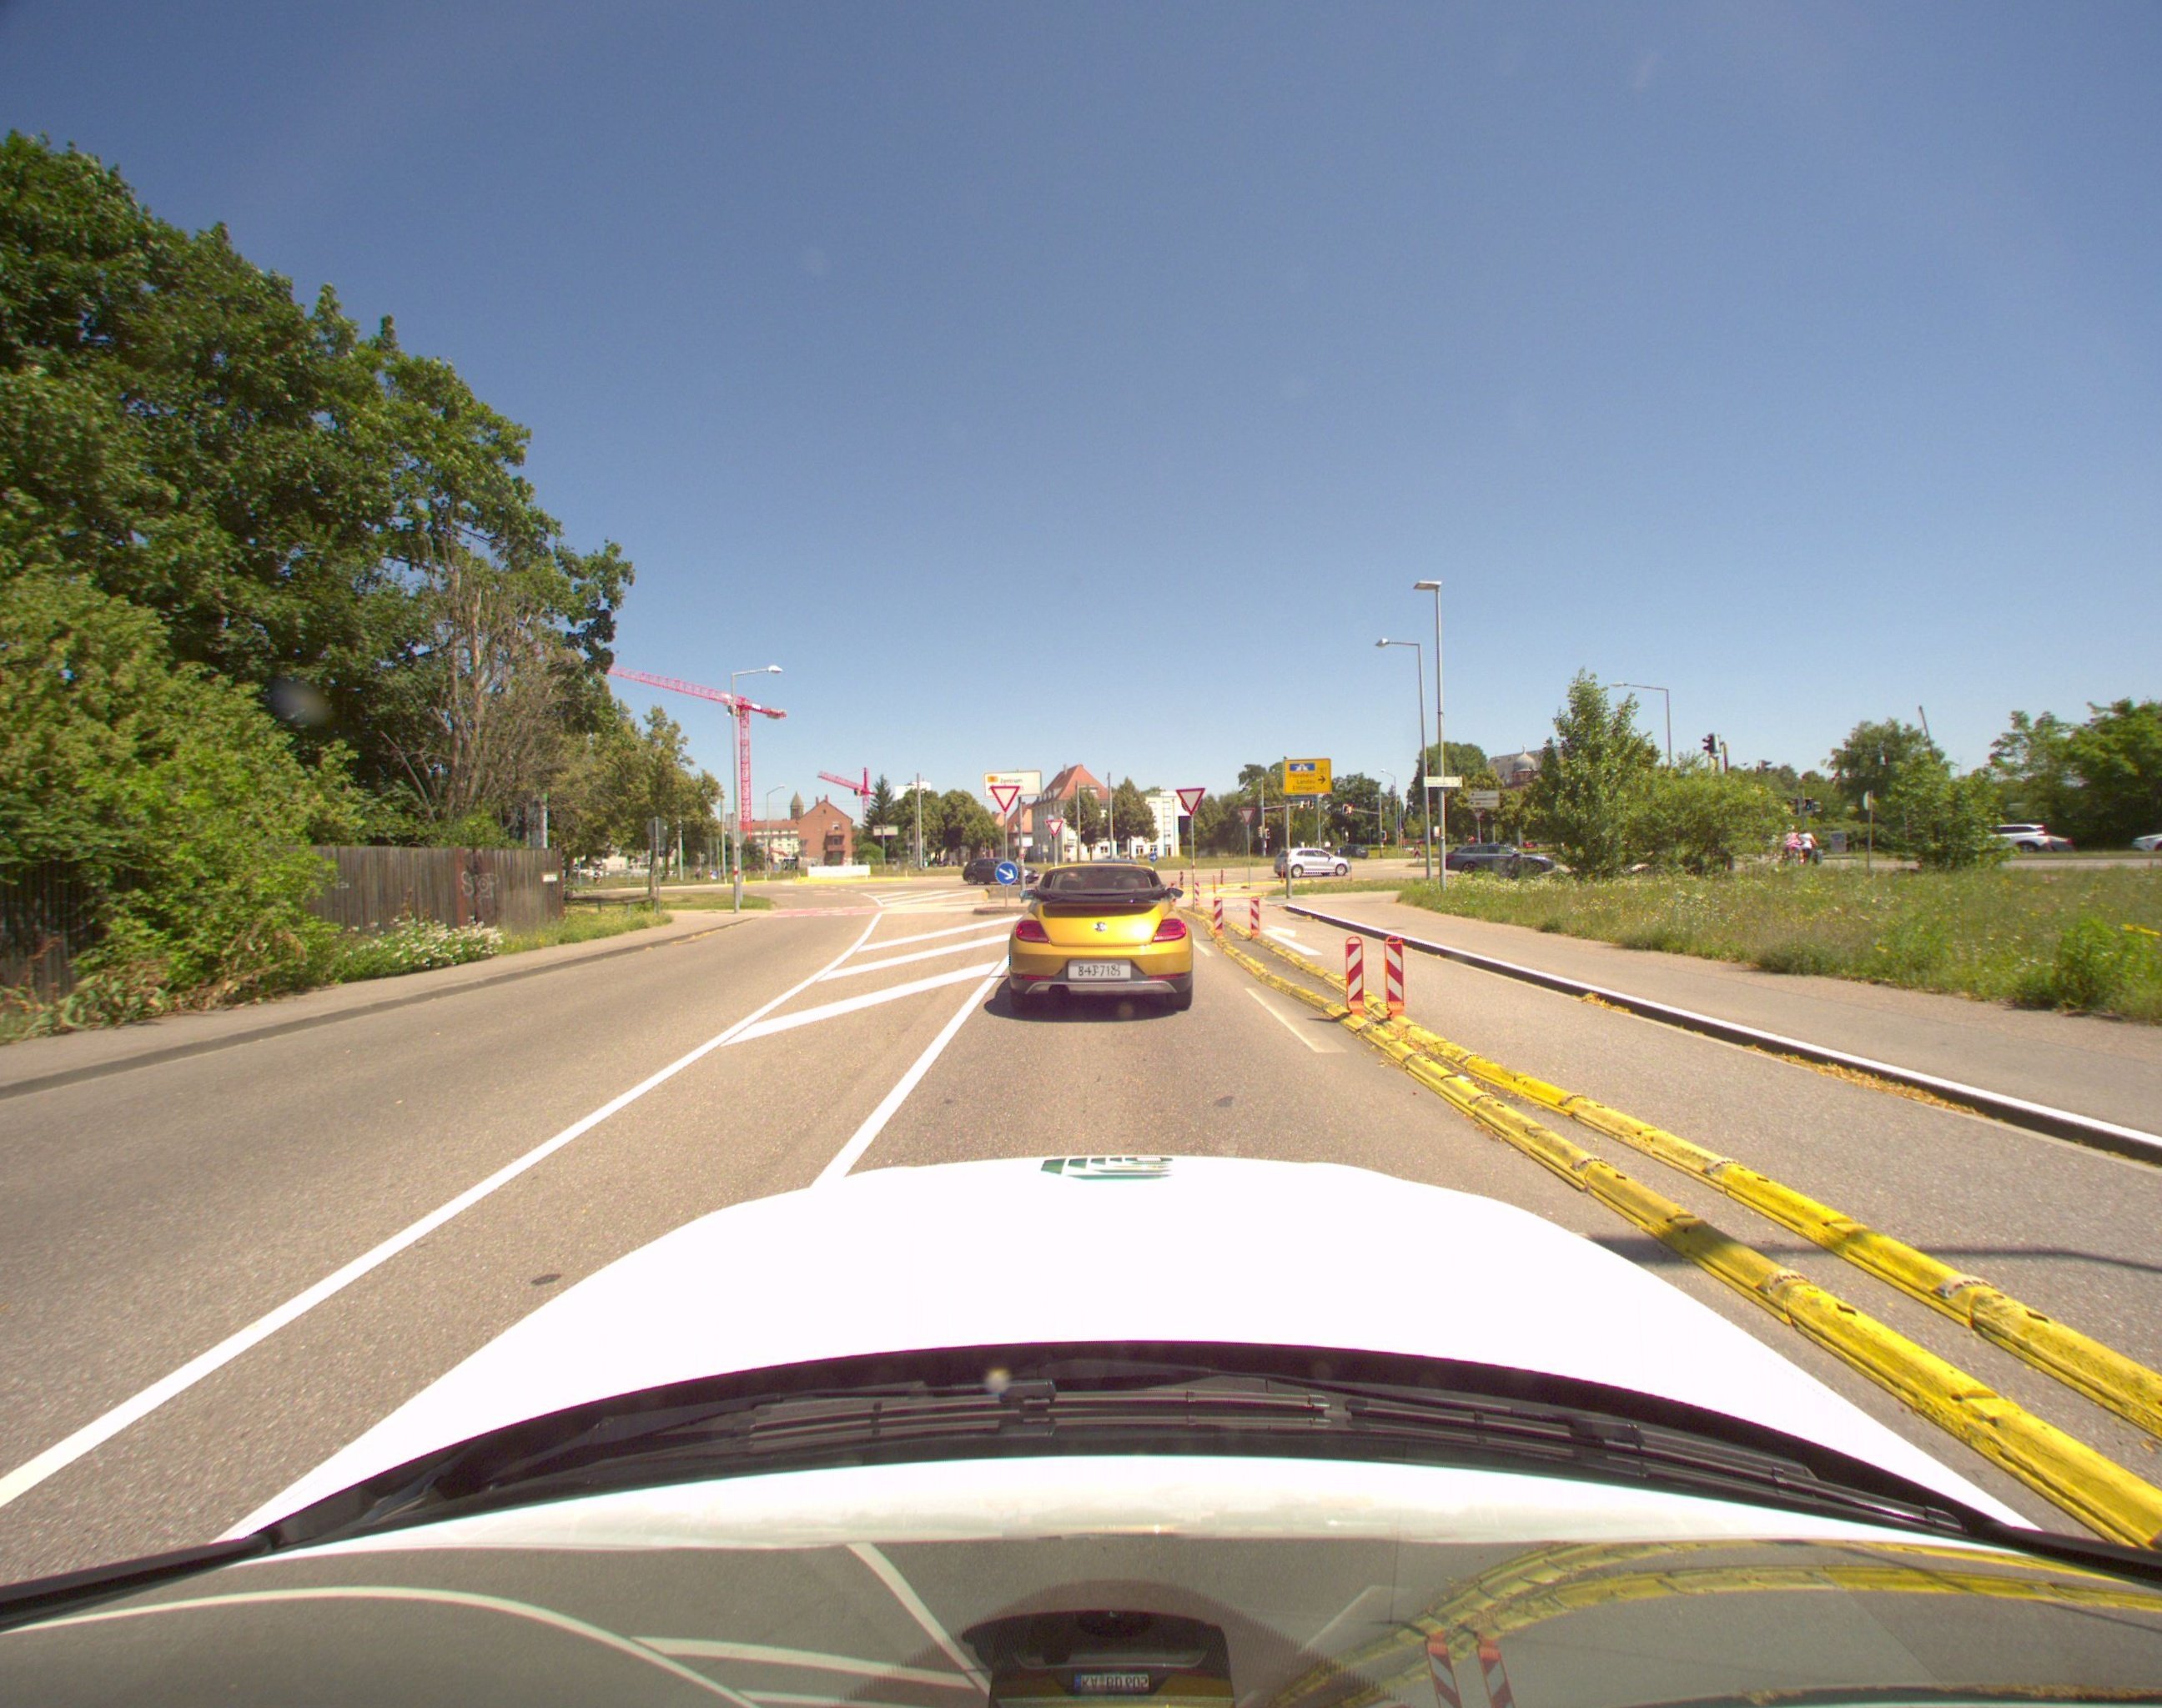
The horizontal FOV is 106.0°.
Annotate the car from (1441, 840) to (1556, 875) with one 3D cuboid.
[{"bbox_3d":[18.934,0.146,37.143,4.404,1.418,2.010,-2,0,19],"label":"car"}]

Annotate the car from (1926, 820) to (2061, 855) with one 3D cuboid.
[{"bbox_3d":[45.998,-0.811,41.210,4.352,1.618,1.876,-2,0,44],"label":"car"}]

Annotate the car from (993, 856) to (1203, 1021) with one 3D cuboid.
[{"bbox_3d":[0.205,0.745,8.970,1.819,1.403,3.663,-1,0,2],"label":"car"}]

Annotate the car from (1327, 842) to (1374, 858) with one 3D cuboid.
[{"bbox_3d":[25.971,-0.403,78.510,2.006,1.464,3.962,0,-1,-30],"label":"car"}]

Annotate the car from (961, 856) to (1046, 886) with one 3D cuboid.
[{"bbox_3d":[-4.089,0.898,42.950,4.034,1.403,1.762,-2,1,19],"label":"car"}]

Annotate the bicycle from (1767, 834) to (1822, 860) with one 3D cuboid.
[{"bbox_3d":[25.007,-0.247,28.527,2.234,0.900,0.889,-1,1,-33],"label":"bicycle"}]

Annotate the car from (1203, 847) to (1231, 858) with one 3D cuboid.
[{"bbox_3d":[21.962,-0.230,131.542,3.988,1.684,1.993,0,-1,-11],"label":"car"}]

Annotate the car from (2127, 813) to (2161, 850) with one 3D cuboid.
[{"bbox_3d":[51.159,-1.097,36.903,4.352,1.683,1.876,-2,0,44],"label":"car"}]

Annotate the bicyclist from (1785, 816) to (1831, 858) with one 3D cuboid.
[{"bbox_3d":[28.075,-0.648,31.452,1.189,1.531,0.951,-3,1,-28],"label":"bicyclist"}]

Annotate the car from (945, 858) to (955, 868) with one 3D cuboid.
[{"bbox_3d":[-26.863,1.886,167.143,1.994,2.014,3.985,0,-1,-11],"label":"car"}]

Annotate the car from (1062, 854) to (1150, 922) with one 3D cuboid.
[{"bbox_3d":[0.743,0.776,20.669,1.787,1.440,4.009,-1,1,7],"label":"car"}]

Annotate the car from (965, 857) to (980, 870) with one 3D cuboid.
[{"bbox_3d":[-16.926,1.473,126.741,1.994,2.014,3.985,0,-1,-11],"label":"car"}]

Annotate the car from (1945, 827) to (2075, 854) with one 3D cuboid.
[{"bbox_3d":[48.812,-0.684,42.954,4.352,1.270,1.876,-2,0,44],"label":"car"}]

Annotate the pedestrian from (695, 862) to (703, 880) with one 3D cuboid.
[{"bbox_3d":[-41.424,1.825,88.313,0.599,2.014,0.595,0,-1,1],"label":"pedestrian"}]

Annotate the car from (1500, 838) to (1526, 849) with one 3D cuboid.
[{"bbox_3d":[81.511,-1.932,153.641,3.949,2.014,2.012,-1,-1,41],"label":"car"}]

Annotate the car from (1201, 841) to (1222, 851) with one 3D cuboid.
[{"bbox_3d":[27.060,-1.689,168.422,3.956,2.014,2.009,-1,-1,16],"label":"car"}]

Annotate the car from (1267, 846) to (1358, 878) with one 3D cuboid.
[{"bbox_3d":[11.624,0.377,40.948,3.992,1.422,1.774,-2,0,-13],"label":"car"}]

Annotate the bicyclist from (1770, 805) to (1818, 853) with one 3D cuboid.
[{"bbox_3d":[24.944,-0.864,28.502,1.190,1.610,0.950,-1,-1,-33],"label":"bicyclist"}]

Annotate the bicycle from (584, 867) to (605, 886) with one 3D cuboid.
[{"bbox_3d":[-42.478,1.944,71.101,0.556,1.684,2.087,0,-1,2],"label":"bicycle"}]

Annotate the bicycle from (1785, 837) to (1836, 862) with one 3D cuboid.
[{"bbox_3d":[28.212,-0.187,31.491,1.766,0.900,0.891,-3,2,-27],"label":"bicycle"}]
